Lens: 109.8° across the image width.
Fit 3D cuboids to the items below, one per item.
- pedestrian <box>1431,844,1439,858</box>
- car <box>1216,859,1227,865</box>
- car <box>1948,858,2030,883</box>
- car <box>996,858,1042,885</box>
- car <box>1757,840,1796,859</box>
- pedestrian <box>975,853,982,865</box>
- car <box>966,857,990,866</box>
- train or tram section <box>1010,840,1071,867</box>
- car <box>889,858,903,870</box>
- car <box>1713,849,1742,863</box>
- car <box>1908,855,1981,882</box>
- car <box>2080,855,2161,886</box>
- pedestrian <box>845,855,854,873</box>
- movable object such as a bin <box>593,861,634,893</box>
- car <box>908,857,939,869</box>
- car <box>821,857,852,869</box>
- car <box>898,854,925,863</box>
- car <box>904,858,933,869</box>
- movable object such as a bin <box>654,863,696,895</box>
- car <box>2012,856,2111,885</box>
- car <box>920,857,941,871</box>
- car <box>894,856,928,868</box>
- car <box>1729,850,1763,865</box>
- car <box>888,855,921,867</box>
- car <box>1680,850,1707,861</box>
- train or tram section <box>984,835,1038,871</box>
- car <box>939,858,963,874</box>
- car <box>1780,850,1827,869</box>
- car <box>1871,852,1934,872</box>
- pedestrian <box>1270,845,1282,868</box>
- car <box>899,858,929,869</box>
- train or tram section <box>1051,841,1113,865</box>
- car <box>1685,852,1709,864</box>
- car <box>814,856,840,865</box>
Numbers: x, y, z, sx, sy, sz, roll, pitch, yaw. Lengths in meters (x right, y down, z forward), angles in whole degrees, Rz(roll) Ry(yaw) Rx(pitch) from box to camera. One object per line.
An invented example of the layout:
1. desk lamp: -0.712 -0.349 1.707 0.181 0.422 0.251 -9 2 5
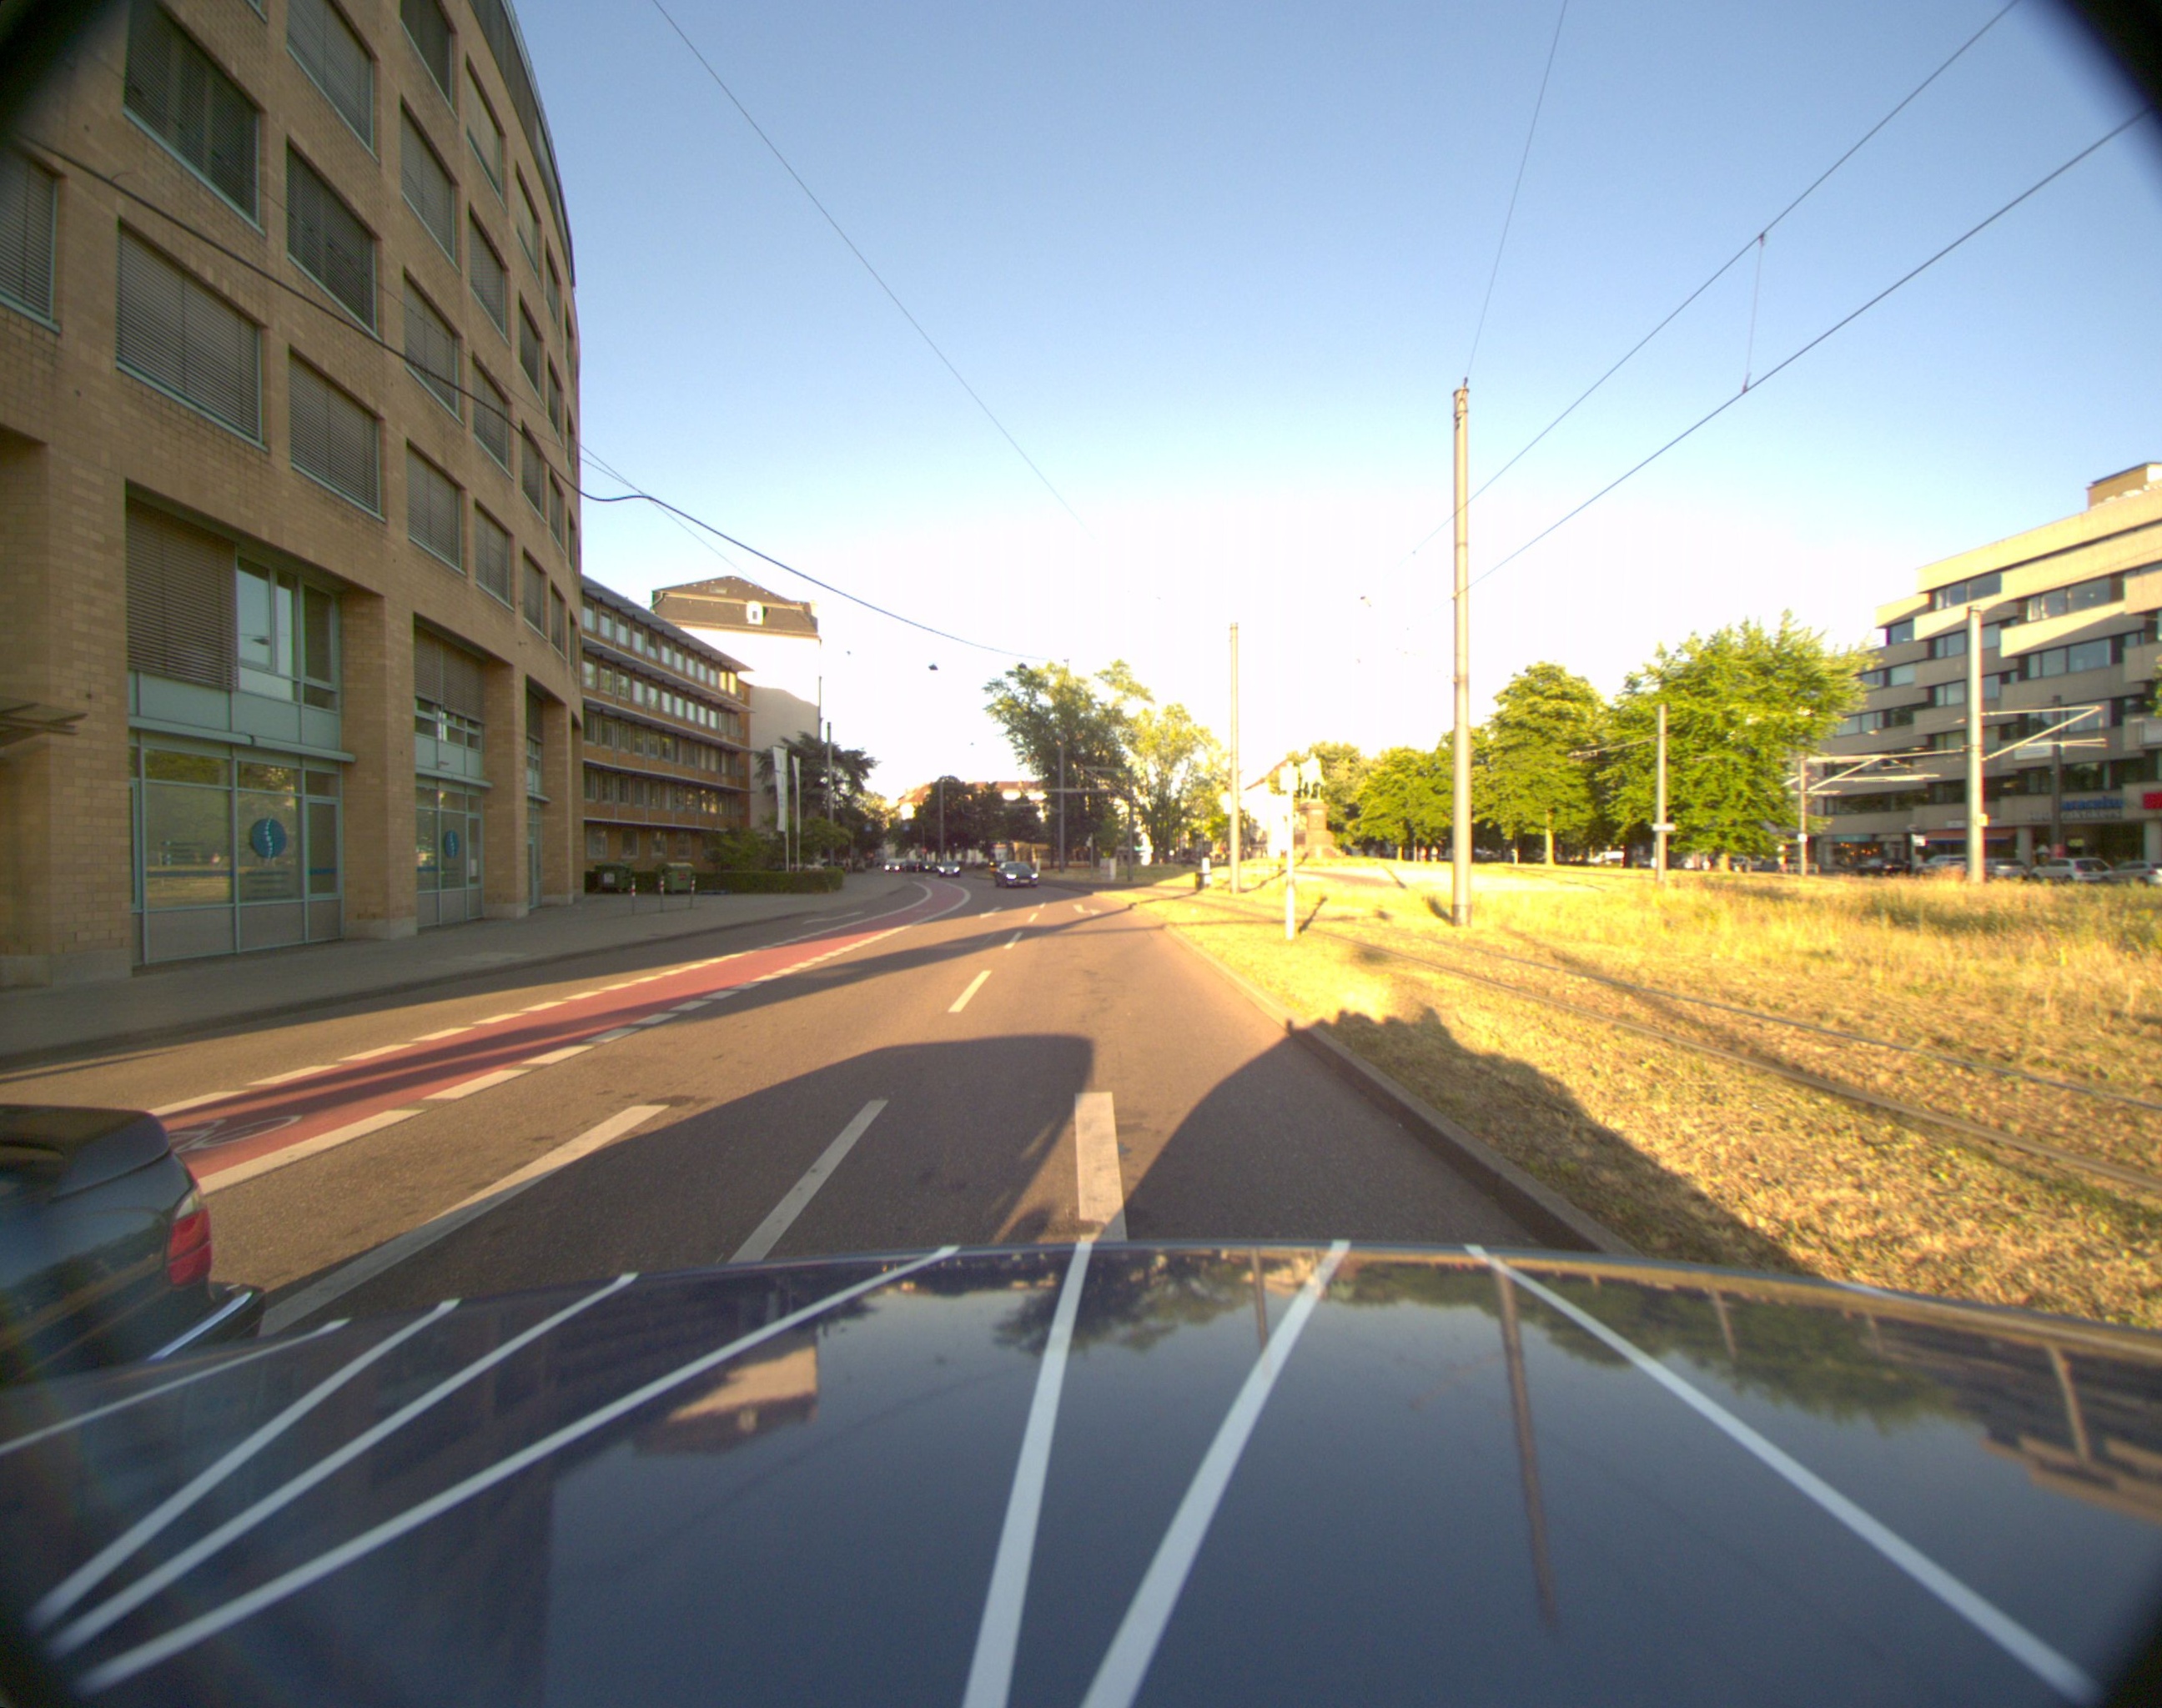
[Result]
1. pedestrian: 37.842 -0.316 81.187 0.619 1.571 0.553 0 -1 2
2. car: 32.575 1.850 176.153 1.723 1.542 3.968 0 -1 1
3. car: 58.652 1.056 49.179 1.755 1.542 4.007 -1 -1 23
4. car: -3.635 0.988 43.866 1.822 1.473 4.130 0 -1 -17
5. car: 73.021 -0.421 79.842 1.755 1.932 4.217 -1 -1 23
6. pedestrian: -18.244 0.894 135.083 0.827 2.001 1.011 -1 -1 30
7. car: -18.847 1.374 139.122 4.011 1.714 1.701 0 -1 -1
8. train or tram section: -4.855 -0.054 95.209 2.926 3.123 12.874 -1 0 19
9. car: -25.148 1.391 103.047 1.822 1.473 4.131 -1 -1 -14
10. car: 78.520 0.298 92.303 1.793 1.570 4.008 -1 -1 27
11. car: 61.366 1.032 54.071 1.755 1.784 4.217 -1 -1 23
12. car: 54.123 0.853 39.054 1.755 1.542 4.008 -1 -1 26
13. pedestrian: -23.203 0.966 76.090 0.591 1.781 0.822 0 -1 11
14. movable object such as a bin: -21.261 1.052 34.567 1.345 1.415 0.923 0 -1 -7
15. car: -21.401 1.215 103.428 4.067 1.547 1.865 0 -1 -6
16. car: -33.985 1.266 105.677 4.072 1.560 1.835 0 -1 -19
17. car: -27.135 0.733 121.894 4.067 1.542 1.999 0 -1 -6
18. car: -24.490 1.458 114.294 4.067 1.608 1.999 0 -1 -6
19. movable object such as a bin: -18.253 1.106 34.199 0.972 1.429 1.347 0 -1 19
20. car: 56.276 0.946 43.717 1.755 1.542 4.007 -1 -1 23
21. car: -17.236 1.166 86.867 1.823 1.473 4.129 0 -1 -19
22. car: -28.257 1.325 126.238 5.078 1.891 2.122 0 -1 2
23. car: 76.252 0.389 87.197 1.755 1.653 4.007 -1 -1 23
24. car: -30.045 1.204 129.394 5.078 2.010 1.968 0 -1 2
25. car: 78.212 0.220 97.066 1.707 1.382 4.008 -1 -1 24
26. train or tram section: -7.388 -0.133 82.503 2.946 3.563 13.373 -1 0 7
27. car: -12.086 1.119 70.394 1.822 1.473 4.131 0 -1 -15
28. car: 70.186 0.533 73.899 1.935 1.784 4.217 -1 -1 23
29. car: 64.192 0.653 59.464 1.861 1.547 4.076 -1 -1 23
30. pedestrian: 14.579 0.168 56.838 0.476 1.680 0.835 0 0 -14
31. car: -24.525 1.437 111.760 4.067 1.542 1.999 0 -1 -6
32. train or tram section: 0.327 -0.174 106.607 2.918 3.123 12.668 0 0 29
33. car: 84.036 0.522 103.685 1.793 1.570 4.008 -1 -1 27
34. car: -45.540 1.123 136.150 4.404 1.603 1.726 0 -1 -23
